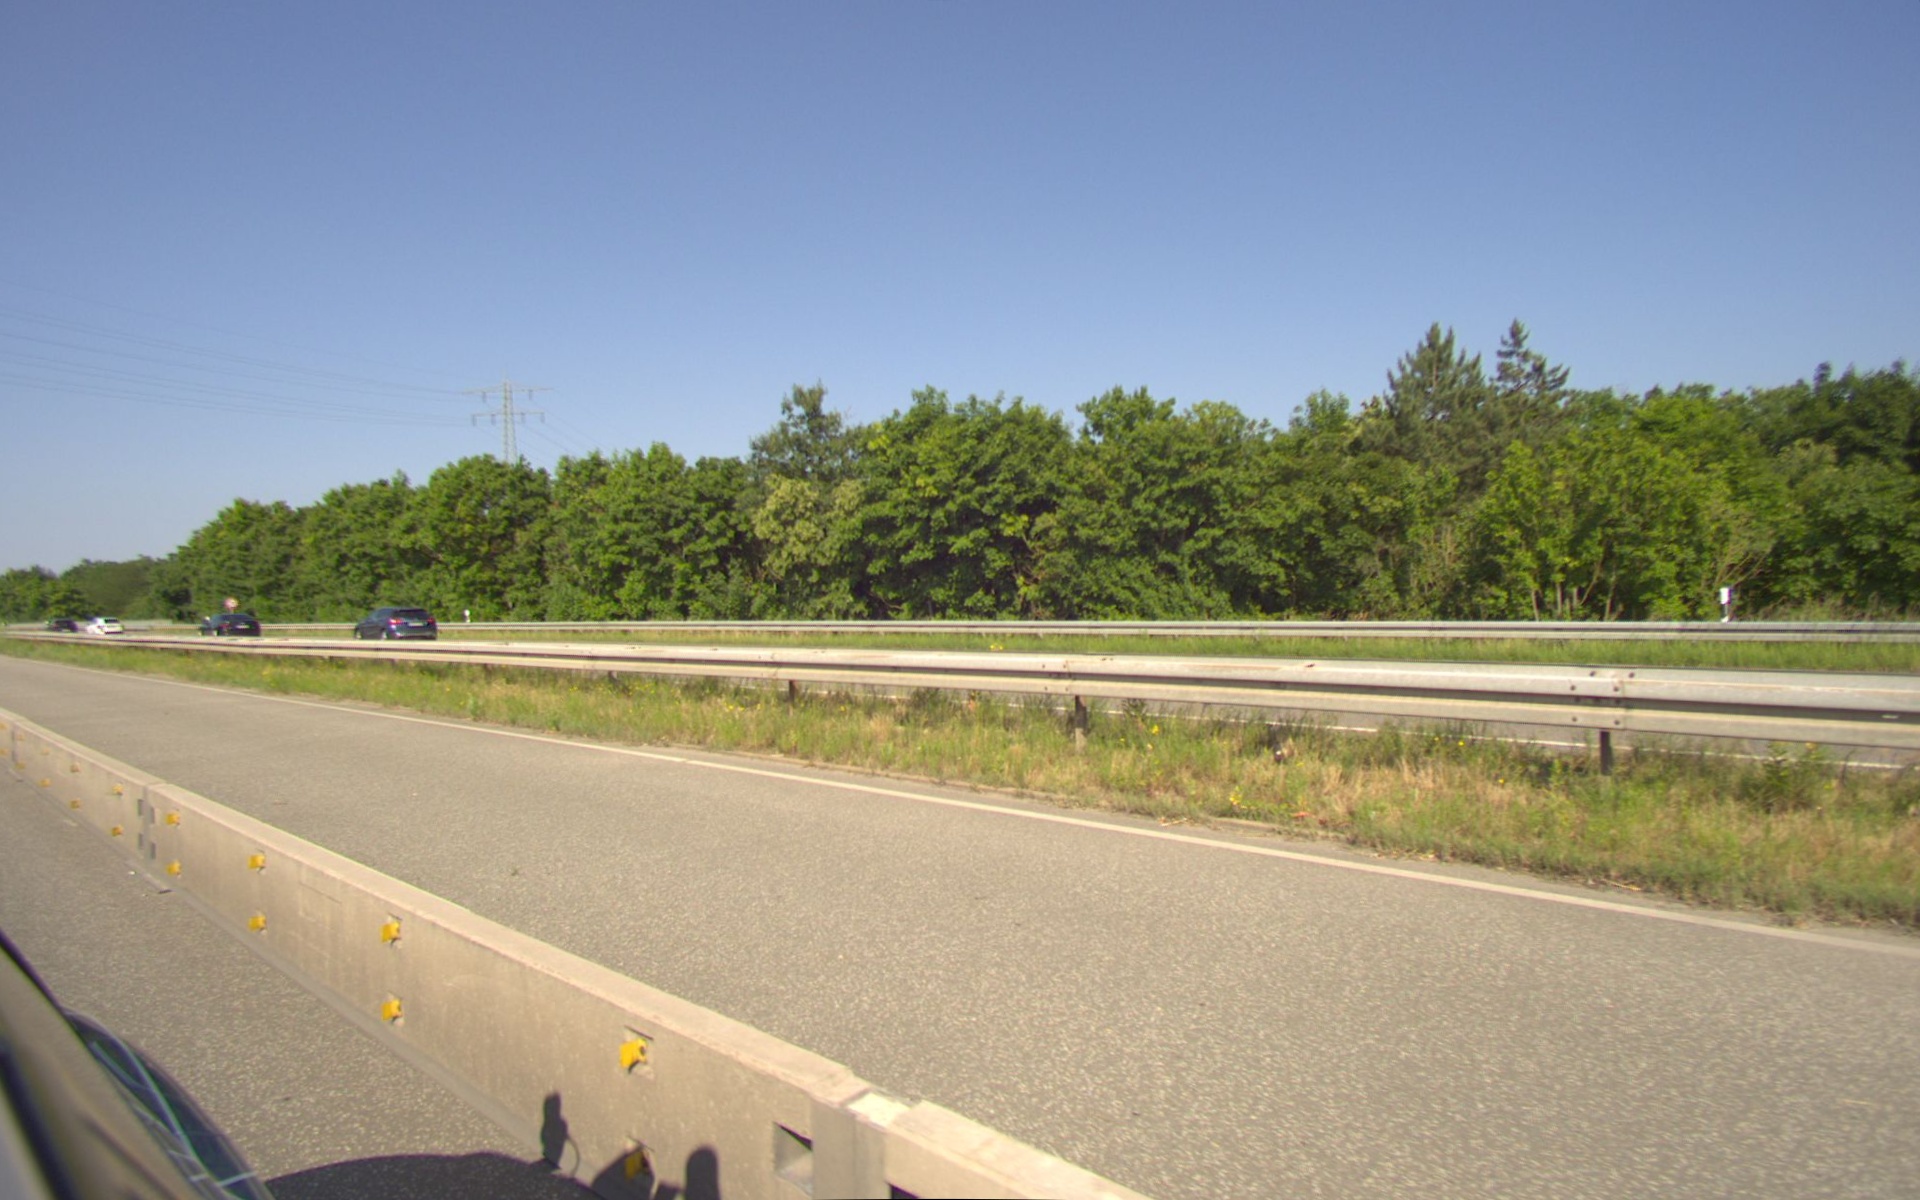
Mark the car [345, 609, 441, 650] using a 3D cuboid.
[{"bbox_3d":[-21.855,1.136,38.960,4.590,1.445,1.778,-2,0,41],"label":"car"}]

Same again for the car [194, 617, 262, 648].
[{"bbox_3d":[-37.276,1.654,51.461,5.022,1.499,1.796,-2,-2,42],"label":"car"}]

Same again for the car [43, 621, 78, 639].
[{"bbox_3d":[-77.458,2.588,87.143,4.107,1.505,1.720,-2,0,41],"label":"car"}]

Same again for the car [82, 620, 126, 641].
[{"bbox_3d":[-63.927,2.283,75.596,4.791,1.481,1.742,-2,1,41],"label":"car"}]
